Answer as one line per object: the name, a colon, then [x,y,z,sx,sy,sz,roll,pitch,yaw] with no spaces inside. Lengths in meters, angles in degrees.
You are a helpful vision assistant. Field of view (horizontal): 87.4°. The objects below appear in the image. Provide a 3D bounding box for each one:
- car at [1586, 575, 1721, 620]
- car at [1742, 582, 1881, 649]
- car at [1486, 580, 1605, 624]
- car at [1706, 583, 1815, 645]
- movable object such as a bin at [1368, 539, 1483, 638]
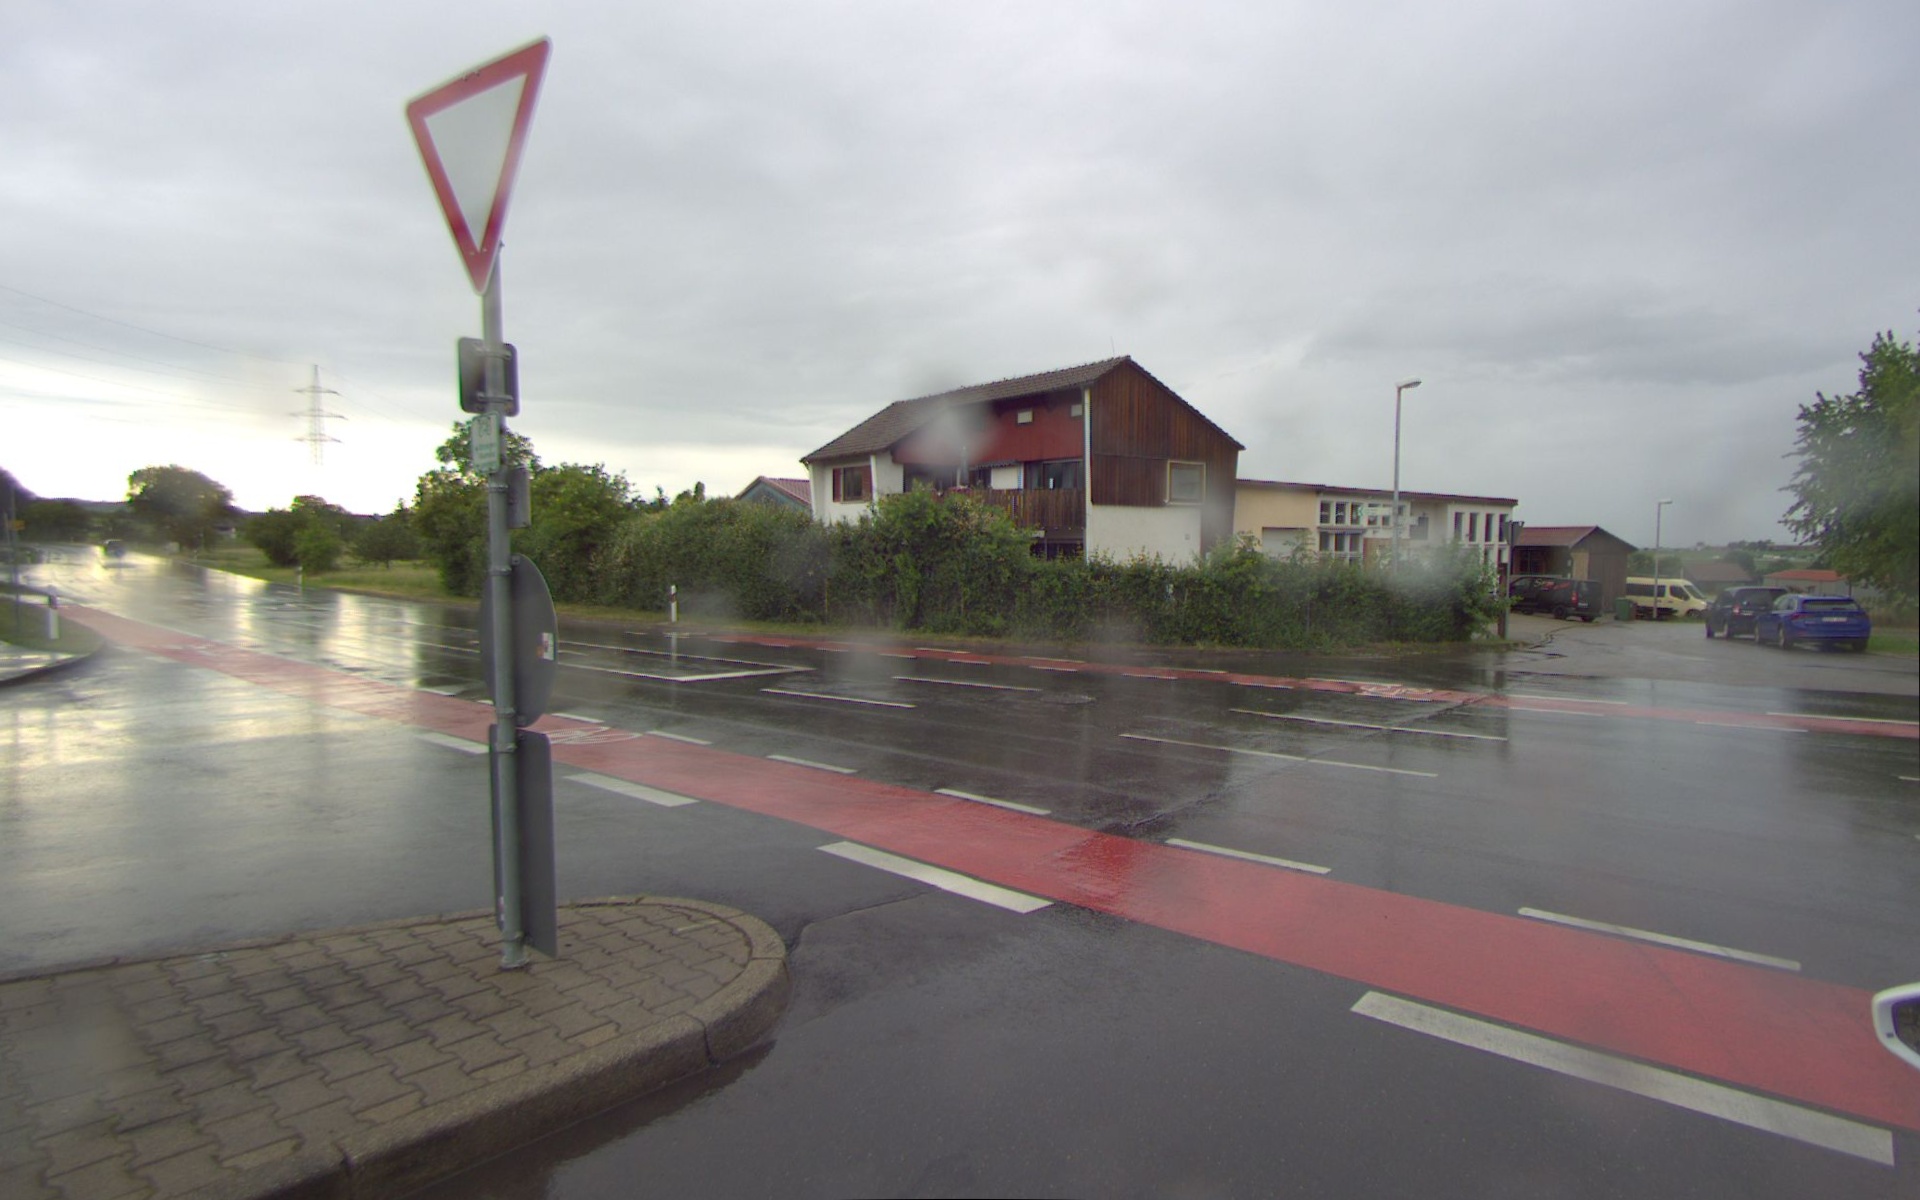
car: [40.284,-0.187,58.531,2.439,2.447,5.967,1,1,-36]
car: [23.172,0.387,27.540,1.922,1.631,4.440,2,1,28]
car: [26.917,0.064,46.309,1.974,1.930,4.381,1,1,-26]
car: [26.252,0.422,33.113,2.043,1.859,4.463,2,1,29]
movable object such as a bin: [12.977,-0.303,27.951,3.315,2.591,1.717,1,1,-42]
